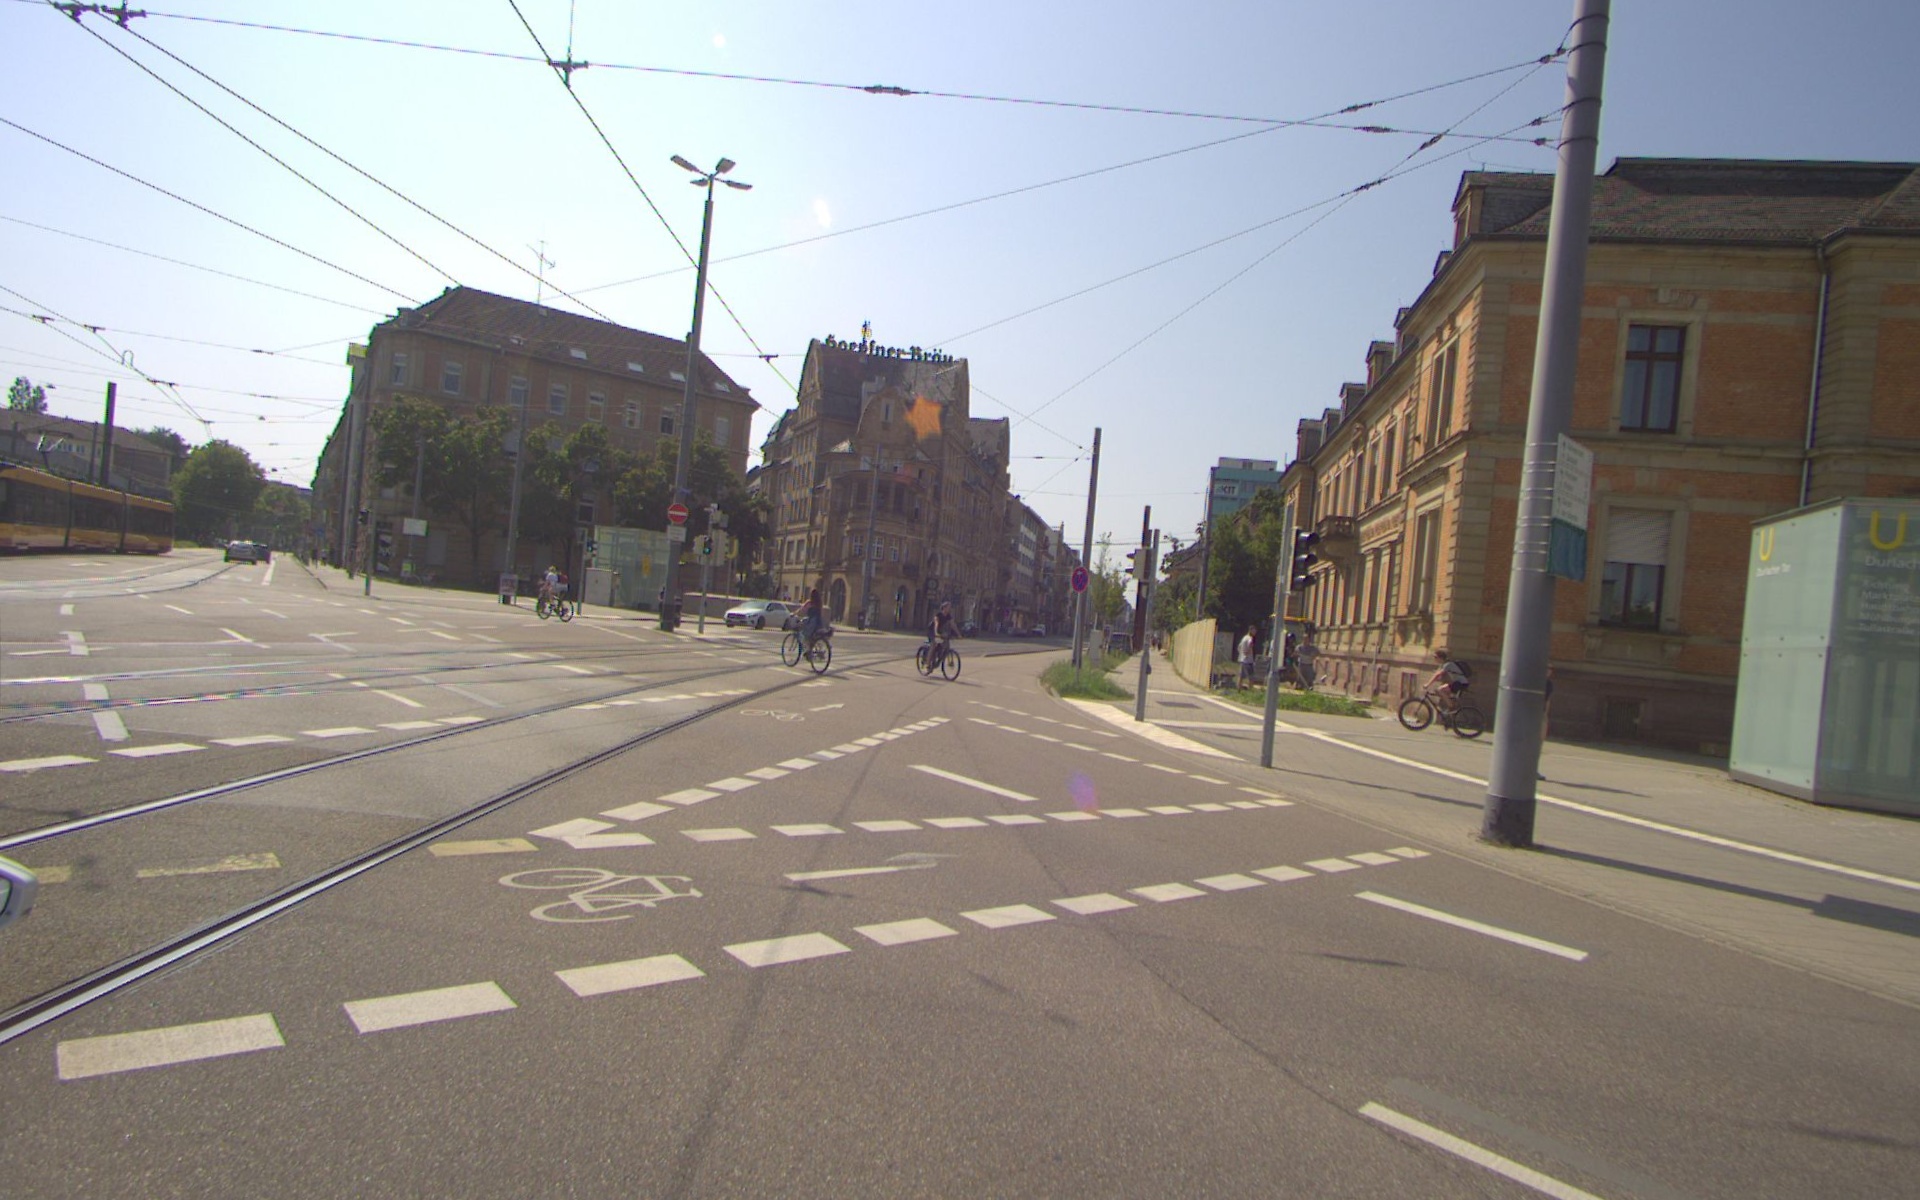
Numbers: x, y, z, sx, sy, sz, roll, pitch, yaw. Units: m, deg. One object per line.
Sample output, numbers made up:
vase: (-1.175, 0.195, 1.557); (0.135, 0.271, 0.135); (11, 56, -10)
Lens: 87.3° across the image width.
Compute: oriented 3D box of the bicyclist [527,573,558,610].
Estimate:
bicyclist: (-16.495, -0.327, 39.735); (0.744, 1.336, 0.910); (5, 0, -44)

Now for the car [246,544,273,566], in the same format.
car: (-54.479, -3.491, 78.231); (1.501, 1.530, 3.587); (6, -1, -37)

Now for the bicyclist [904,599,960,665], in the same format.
bicyclist: (-0.673, 0.758, 23.950); (0.798, 1.441, 0.919); (5, 0, -44)

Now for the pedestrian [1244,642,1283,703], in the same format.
pedestrian: (9.039, 2.155, 29.983); (0.675, 1.693, 0.683); (5, 0, -20)

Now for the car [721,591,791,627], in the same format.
car: (-9.779, 0.460, 48.467); (1.558, 1.303, 3.731); (6, -3, 19)

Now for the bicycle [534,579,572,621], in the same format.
bicycle: (-12.392, -0.009, 30.597); (0.438, 1.125, 1.623); (5, 0, -43)

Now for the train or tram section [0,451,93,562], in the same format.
train or tram section: (-36.893, -3.535, 38.855); (2.567, 3.601, 12.131); (7, -2, -30)

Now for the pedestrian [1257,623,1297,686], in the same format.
pedestrian: (9.022, 1.539, 28.667); (0.675, 1.693, 0.683); (5, 0, -20)

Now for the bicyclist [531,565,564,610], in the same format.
bicyclist: (-12.457, -0.377, 30.369); (0.654, 1.269, 0.636); (5, 0, -44)

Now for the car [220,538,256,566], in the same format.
car: (-48.666, -3.222, 67.798); (1.724, 1.592, 3.575); (8, -3, -38)

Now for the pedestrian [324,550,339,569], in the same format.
pedestrian: (-57.662, -3.717, 92.316); (0.836, 1.690, 0.800); (7, -1, -42)

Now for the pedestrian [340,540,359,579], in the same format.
pedestrian: (-33.374, -2.195, 54.971); (0.645, 2.039, 0.696); (5, 0, -38)

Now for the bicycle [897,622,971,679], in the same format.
bicycle: (-0.639, 1.185, 23.900); (0.468, 1.140, 1.933); (5, 0, -44)

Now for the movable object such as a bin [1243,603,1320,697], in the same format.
movable object such as a bin: (10.520, 1.625, 32.709); (1.785, 2.705, 4.454); (5, -1, 23)

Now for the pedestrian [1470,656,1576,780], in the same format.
pedestrian: (7.970, 1.652, 14.279); (0.780, 1.629, 0.947); (4, 0, -14)

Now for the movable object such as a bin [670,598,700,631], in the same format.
movable object such as a bin: (-10.144, 0.529, 37.112); (0.810, 1.097, 1.033); (7, -2, -25)

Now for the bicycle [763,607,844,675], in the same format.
bicycle: (-3.264, 0.823, 20.804); (0.438, 1.125, 2.101); (5, 2, -43)

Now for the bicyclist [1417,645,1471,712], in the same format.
bicyclist: (9.938, 1.593, 20.679); (0.848, 1.249, 1.101); (6, 0, 24)

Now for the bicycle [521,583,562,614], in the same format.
bicycle: (-16.531, -0.070, 39.727); (0.642, 1.010, 2.346); (6, 0, -44)

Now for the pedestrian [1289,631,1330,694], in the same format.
pedestrian: (9.906, 1.764, 28.541); (0.675, 1.693, 0.683); (5, 0, -20)

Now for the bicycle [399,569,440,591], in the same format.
bicycle: (-27.804, -1.032, 51.767); (1.775, 0.969, 0.457); (6, 0, -41)

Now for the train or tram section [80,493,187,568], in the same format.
train or tram section: (-48.915, -3.919, 59.925); (2.567, 3.601, 12.131); (7, -2, -30)

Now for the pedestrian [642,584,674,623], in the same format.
pedestrian: (-11.338, 0.140, 37.767); (0.803, 1.368, 0.718); (6, 0, 31)

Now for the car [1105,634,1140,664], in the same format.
car: (12.915, 3.901, 79.748); (1.962, 2.037, 4.004); (6, -2, 18)

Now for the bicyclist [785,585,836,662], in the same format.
bicyclist: (-3.076, 0.486, 20.666); (0.654, 1.499, 0.636); (5, 0, -44)

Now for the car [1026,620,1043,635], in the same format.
car: (11.179, 4.168, 150.934); (1.962, 2.038, 4.002); (6, -1, 12)

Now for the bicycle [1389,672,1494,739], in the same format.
bicycle: (9.870, 2.148, 20.683); (1.822, 1.125, 0.712); (6, 0, 23)

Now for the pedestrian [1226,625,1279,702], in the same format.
pedestrian: (7.446, 1.614, 25.633); (0.674, 1.836, 1.035); (5, 0, -20)

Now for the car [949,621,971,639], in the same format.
car: (0.009, 2.745, 92.859); (1.349, 1.414, 3.261); (6, -2, 9)

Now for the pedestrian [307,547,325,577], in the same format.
pedestrian: (-46.990, -2.757, 73.381); (0.836, 2.037, 0.801); (7, -2, -42)

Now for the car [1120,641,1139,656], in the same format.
car: (21.414, 6.142, 127.112); (1.962, 1.703, 4.005); (6, -2, 15)

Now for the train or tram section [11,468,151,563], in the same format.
train or tram section: (-43.163, -3.926, 49.868); (2.567, 3.601, 12.131); (7, -2, -30)
